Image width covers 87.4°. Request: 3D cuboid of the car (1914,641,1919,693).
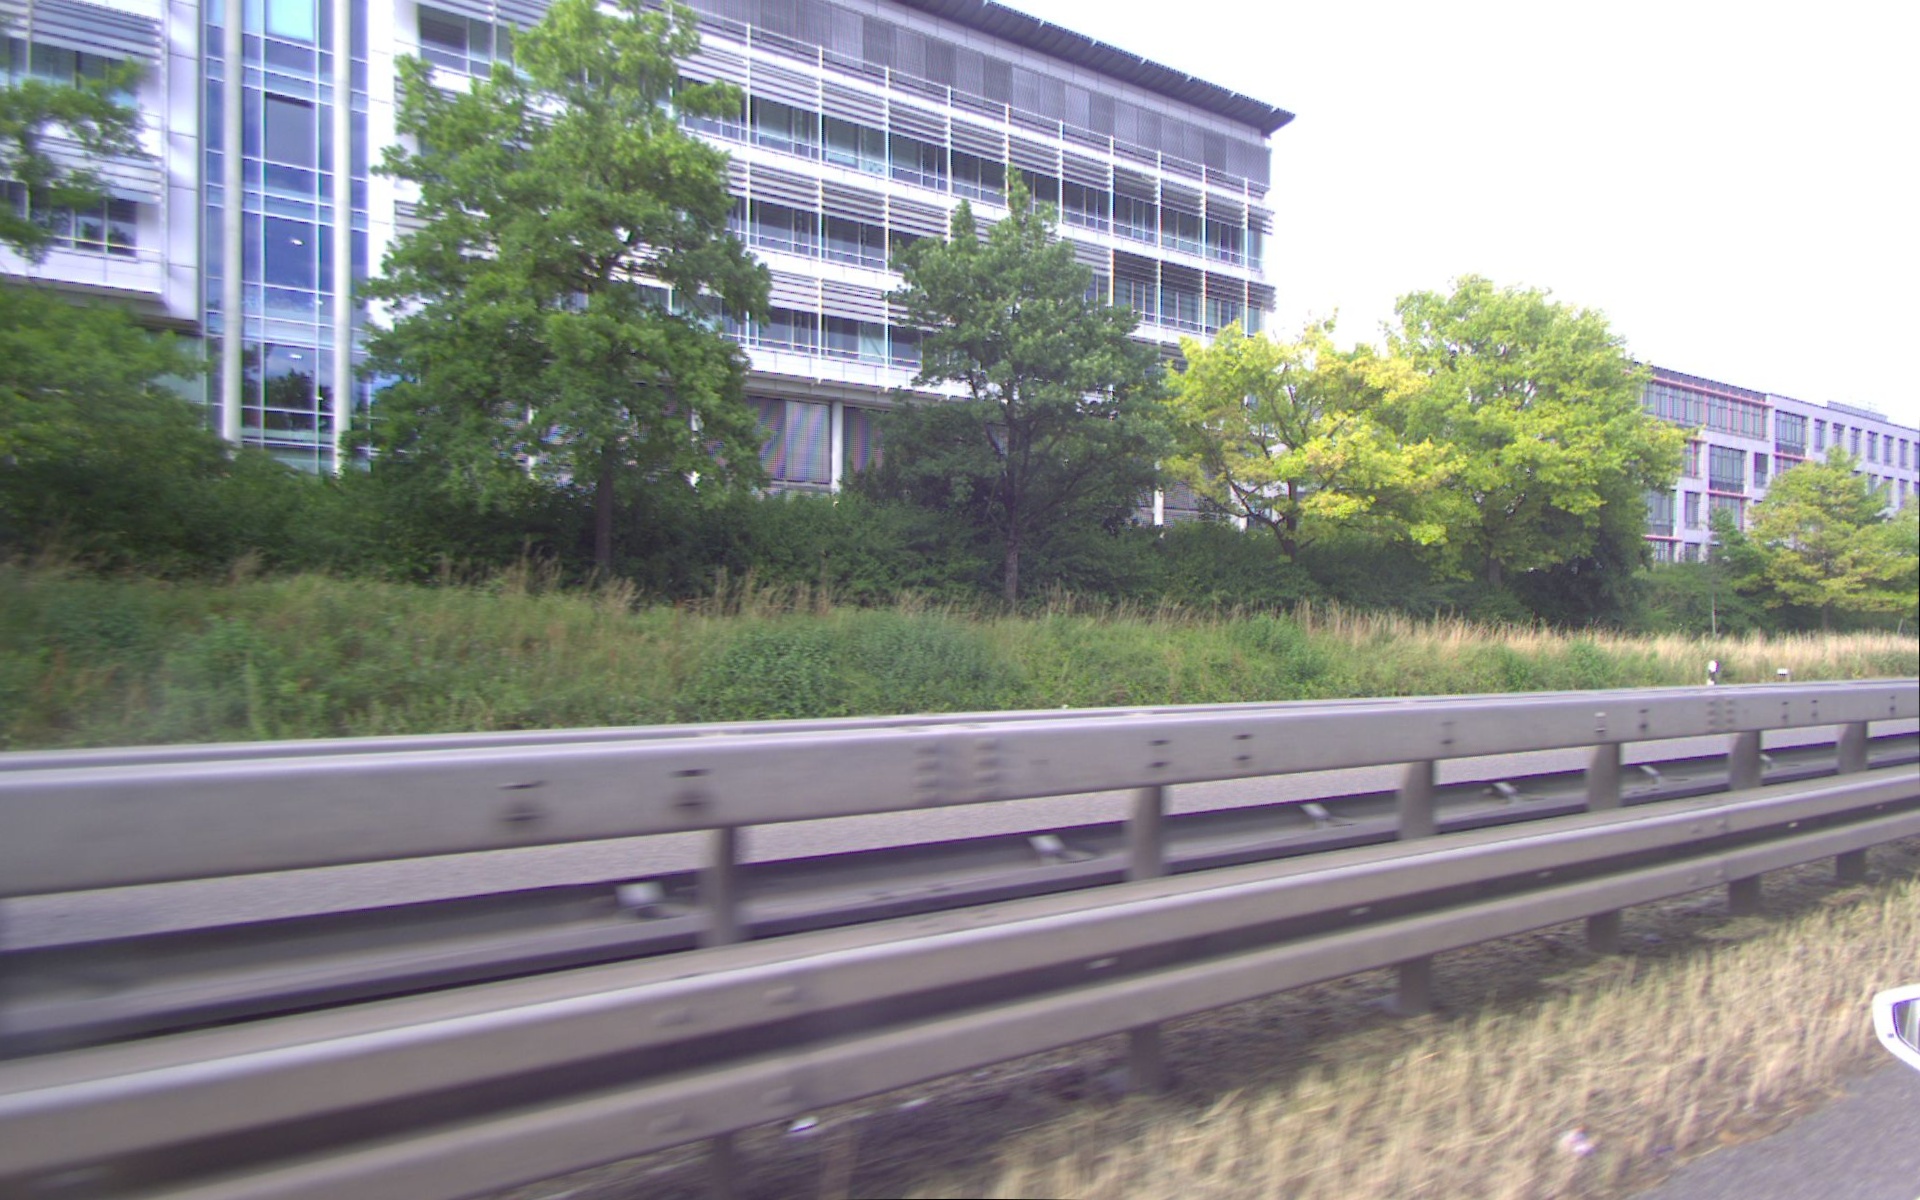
[{"bbox_3d":[28.822,1.881,28.197,4.511,1.441,1.749,1,-1,-30],"label":"car"}]
